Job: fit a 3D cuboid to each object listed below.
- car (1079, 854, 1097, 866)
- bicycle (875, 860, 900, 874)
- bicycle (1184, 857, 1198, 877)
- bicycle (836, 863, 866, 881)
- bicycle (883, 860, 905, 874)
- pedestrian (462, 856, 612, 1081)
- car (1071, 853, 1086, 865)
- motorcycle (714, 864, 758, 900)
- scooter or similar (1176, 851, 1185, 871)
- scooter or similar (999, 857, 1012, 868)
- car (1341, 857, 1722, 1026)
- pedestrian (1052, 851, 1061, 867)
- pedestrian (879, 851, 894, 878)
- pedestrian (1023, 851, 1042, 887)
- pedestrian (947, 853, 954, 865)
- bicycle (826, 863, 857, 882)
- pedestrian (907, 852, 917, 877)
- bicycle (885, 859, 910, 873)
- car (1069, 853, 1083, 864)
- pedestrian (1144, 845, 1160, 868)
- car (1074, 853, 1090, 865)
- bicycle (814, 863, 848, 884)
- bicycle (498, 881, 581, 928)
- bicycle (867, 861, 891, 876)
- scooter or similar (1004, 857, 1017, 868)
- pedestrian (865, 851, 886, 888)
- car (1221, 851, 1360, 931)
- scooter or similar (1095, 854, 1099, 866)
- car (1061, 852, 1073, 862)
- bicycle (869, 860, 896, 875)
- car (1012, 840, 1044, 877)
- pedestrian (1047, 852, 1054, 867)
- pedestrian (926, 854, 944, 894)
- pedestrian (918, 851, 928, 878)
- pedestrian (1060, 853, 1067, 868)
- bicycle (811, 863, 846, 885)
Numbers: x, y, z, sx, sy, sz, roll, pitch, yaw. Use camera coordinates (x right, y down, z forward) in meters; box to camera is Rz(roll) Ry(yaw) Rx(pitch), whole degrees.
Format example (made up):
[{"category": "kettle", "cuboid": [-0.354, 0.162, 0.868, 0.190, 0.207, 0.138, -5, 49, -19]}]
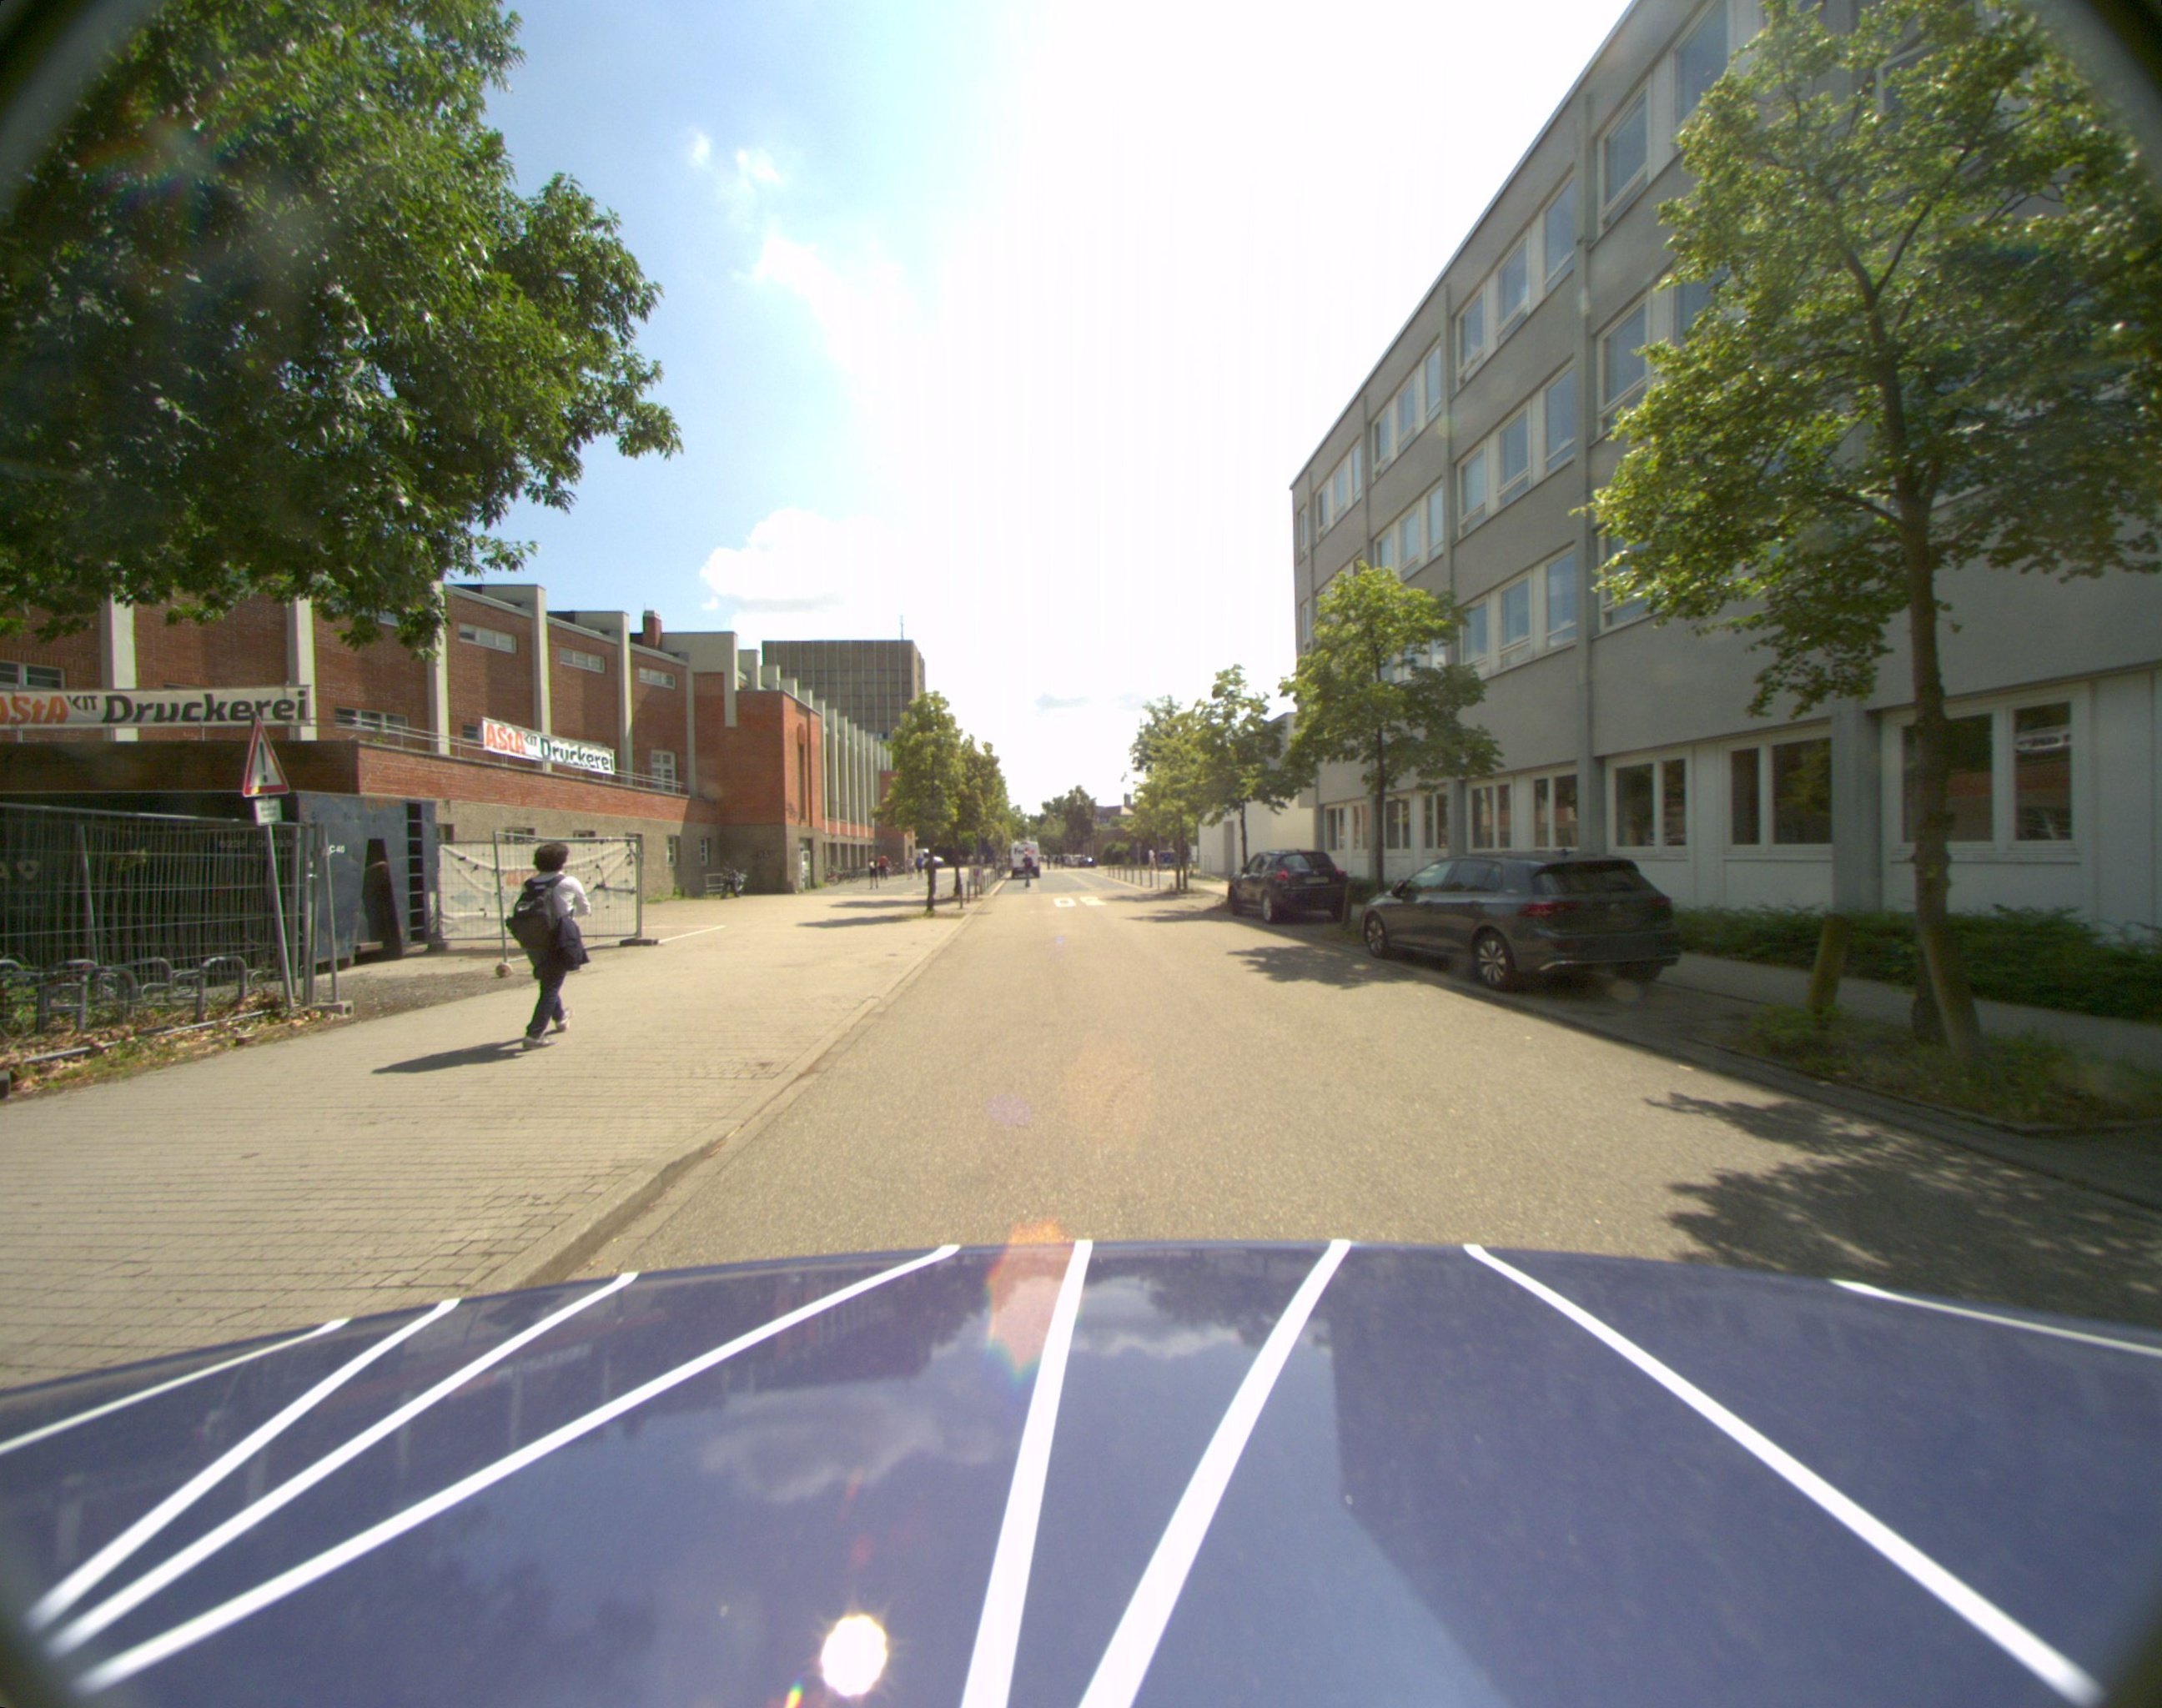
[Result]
[{"category": "car", "cuboid": [0.748, 0.619, 84.735, 1.701, 1.287, 3.761, -1, 0, -3]}, {"category": "bicycle", "cuboid": [-15.248, 1.032, 59.882, 1.802, 1.103, 0.435, -1, 1, -5]}, {"category": "bicycle", "cuboid": [6.110, 0.721, 42.334, 0.544, 1.055, 1.899, -1, 0, 1]}, {"category": "bicycle", "cuboid": [-14.287, 1.110, 47.158, 1.687, 1.103, 0.435, -1, 1, -5]}, {"category": "bicycle", "cuboid": [-15.319, 1.041, 62.205, 1.699, 1.103, 0.435, -1, 1, -5]}, {"category": "pedestrian", "cuboid": [-4.556, 0.908, 6.428, 0.696, 1.770, 0.786, -1, 1, -6]}, {"category": "car", "cuboid": [-0.312, 0.642, 96.121, 1.648, 1.368, 3.999, -1, 0, -3]}, {"category": "motorcycle", "cuboid": [-13.486, 1.078, 29.770, 0.698, 1.315, 2.219, -1, 0, -1]}, {"category": "scooter or similar", "cuboid": [6.461, 0.465, 49.358, 0.483, 1.256, 1.314, -1, 1, 9]}, {"category": "scooter or similar", "cuboid": [-8.193, 0.920, 82.741, 1.353, 1.223, 0.577, -1, 0, 31]}, {"category": "car", "cuboid": [4.964, 0.819, 9.227, 1.783, 1.452, 4.256, -2, 1, -5]}, {"category": "pedestrian", "cuboid": [-2.742, 0.580, 85.762, 0.727, 1.776, 0.899, -2, 1, -20]}, {"category": "pedestrian", "cuboid": [-13.262, 0.719, 51.803, 0.664, 1.823, 0.906, -1, 1, 3]}, {"category": "pedestrian", "cuboid": [-2.520, 0.752, 39.431, 0.826, 1.807, 1.143, -1, 1, -9]}, {"category": "pedestrian", "cuboid": [-18.663, 0.679, 108.743, 0.752, 1.663, 0.844, -1, 0, -26]}, {"category": "bicycle", "cuboid": [-14.406, 1.123, 45.717, 1.752, 1.103, 0.435, -1, 1, -5]}, {"category": "pedestrian", "cuboid": [-11.753, 0.727, 52.950, 0.586, 1.697, 1.001, -1, 1, -8]}, {"category": "bicycle", "cuboid": [-15.443, 1.022, 64.007, 1.935, 1.103, 0.456, -1, 1, -5]}, {"category": "car", "cuboid": [-0.747, 0.558, 105.100, 1.718, 1.424, 3.999, -1, 0, -3]}, {"category": "pedestrian", "cuboid": [5.850, 0.218, 62.346, 1.022, 1.837, 0.918, 1, 1, 27]}, {"category": "car", "cuboid": [0.122, 0.569, 90.392, 1.635, 1.422, 3.631, -1, 0, -4]}, {"category": "bicycle", "cuboid": [-14.253, 1.133, 43.281, 1.758, 1.143, 0.517, -1, 1, -5]}, {"category": "bicycle", "cuboid": [-13.680, 1.266, 19.224, 1.706, 1.103, 0.447, -1, 1, -3]}, {"category": "bicycle", "cuboid": [-14.993, 1.068, 56.404, 1.687, 1.103, 0.435, -1, 1, -5]}, {"category": "scooter or similar", "cuboid": [-7.845, 0.929, 84.308, 1.261, 1.225, 0.577, -1, 0, 31]}, {"category": "pedestrian", "cuboid": [-10.353, 0.757, 38.330, 0.847, 1.823, 1.196, -1, 1, -9]}, {"category": "car", "cuboid": [4.580, 0.732, 17.284, 1.702, 1.555, 4.065, -1, 0, -5]}, {"category": "scooter or similar", "cuboid": [1.717, 0.639, 80.871, 0.470, 1.209, 1.204, -1, 1, 1]}, {"category": "car", "cuboid": [-2.416, 0.472, 132.139, 1.933, 1.624, 4.371, -1, 0, -3]}, {"category": "bicycle", "cuboid": [-15.156, 1.053, 58.072, 1.917, 1.103, 0.435, -1, 1, -5]}, {"category": "car", "cuboid": [-3.892, 0.313, 54.937, 2.065, 2.528, 5.846, -1, 0, -6]}, {"category": "pedestrian", "cuboid": [-3.449, 0.594, 85.497, 0.622, 1.706, 1.004, -1, 0, -16]}, {"category": "pedestrian", "cuboid": [-6.377, 0.863, 33.301, 0.643, 1.687, 0.792, -1, 1, -5]}, {"category": "pedestrian", "cuboid": [-11.009, 0.717, 52.924, 0.666, 1.879, 1.109, -1, 1, -10]}, {"category": "pedestrian", "cuboid": [-2.017, 0.709, 86.021, 0.558, 1.706, 0.971, -1, 1, -16]}, {"category": "bicycle", "cuboid": [-14.091, 1.120, 42.364, 1.758, 1.143, 0.435, -1, 1, -5]}]
